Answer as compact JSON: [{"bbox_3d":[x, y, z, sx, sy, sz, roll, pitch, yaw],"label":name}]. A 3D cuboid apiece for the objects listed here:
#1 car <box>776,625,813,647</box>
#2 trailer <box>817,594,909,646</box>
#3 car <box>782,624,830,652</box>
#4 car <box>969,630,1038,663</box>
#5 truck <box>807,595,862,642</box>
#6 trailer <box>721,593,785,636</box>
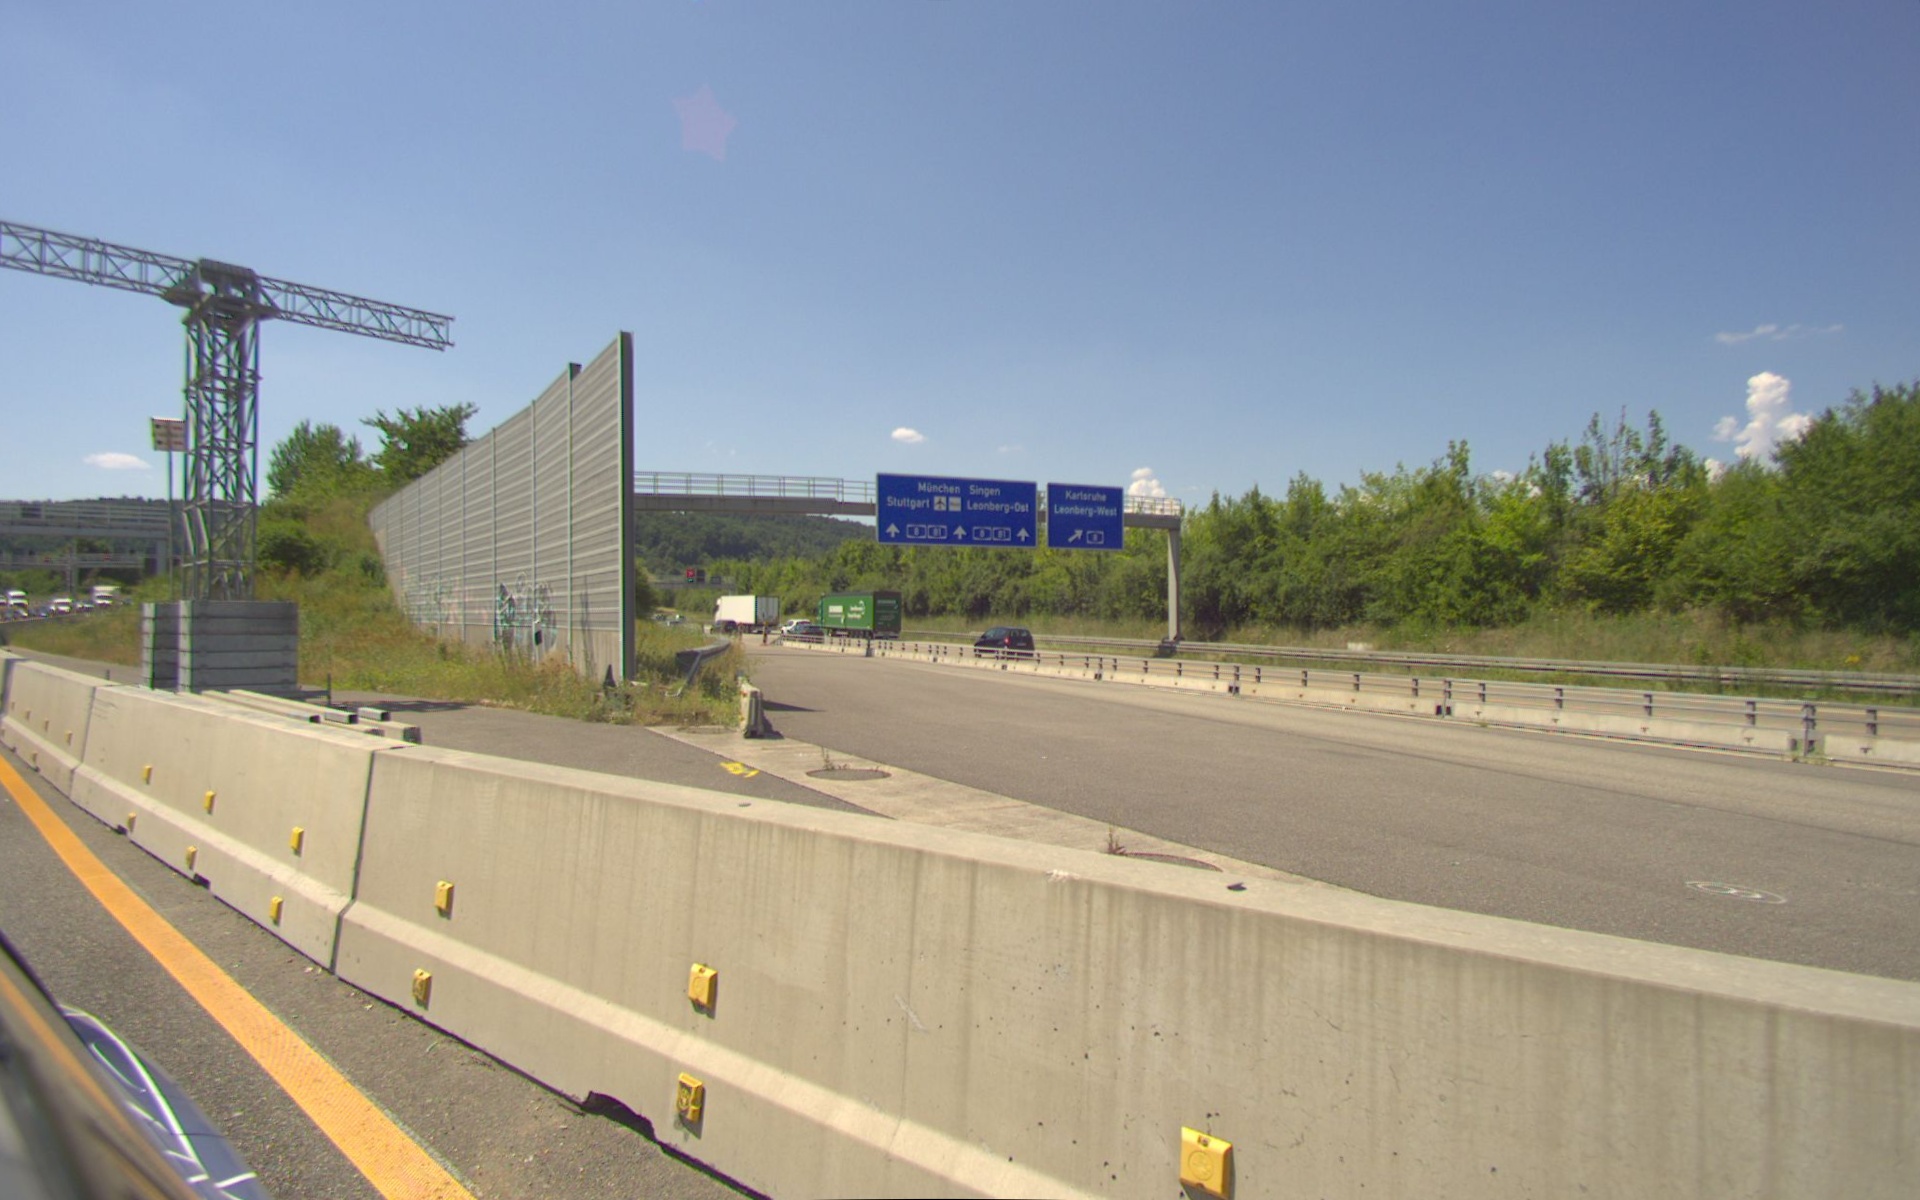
[{"bbox_3d":[-13.506,2.909,82.260,1.692,1.636,4.183,0,-1,-29],"label":"car"},{"bbox_3d":[-8.827,1.654,89.804,3.496,4.302,13.954,0,0,-26],"label":"trailer"},{"bbox_3d":[-10.233,2.469,67.044,1.673,1.743,4.465,1,-1,-29],"label":"car"},{"bbox_3d":[2.123,2.272,50.024,1.692,1.502,3.699,1,-1,-30],"label":"car"},{"bbox_3d":[-12.042,1.670,96.465,3.496,4.302,5.798,0,0,-26],"label":"truck"},{"bbox_3d":[-22.566,1.506,109.667,3.496,4.302,13.954,0,0,-26],"label":"trailer"}]
